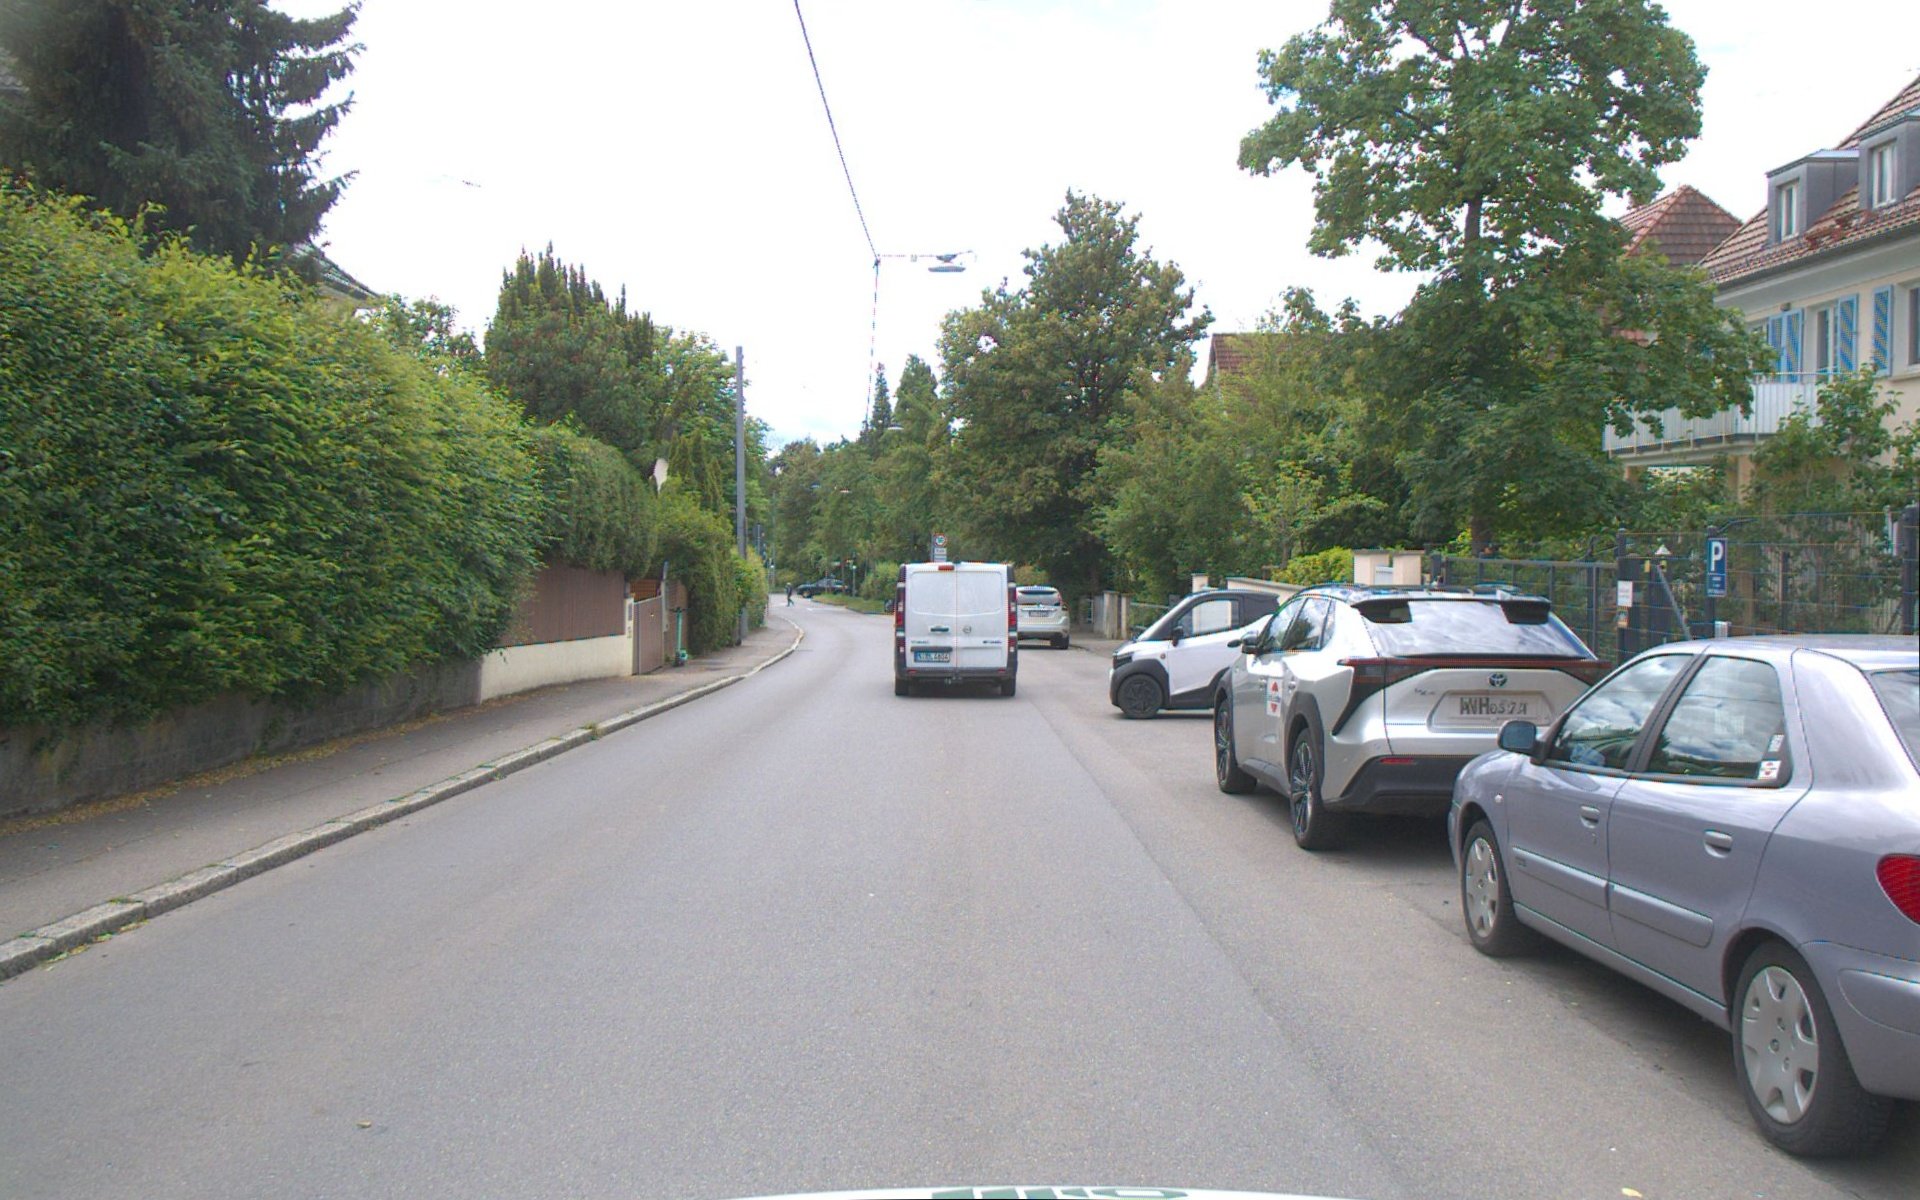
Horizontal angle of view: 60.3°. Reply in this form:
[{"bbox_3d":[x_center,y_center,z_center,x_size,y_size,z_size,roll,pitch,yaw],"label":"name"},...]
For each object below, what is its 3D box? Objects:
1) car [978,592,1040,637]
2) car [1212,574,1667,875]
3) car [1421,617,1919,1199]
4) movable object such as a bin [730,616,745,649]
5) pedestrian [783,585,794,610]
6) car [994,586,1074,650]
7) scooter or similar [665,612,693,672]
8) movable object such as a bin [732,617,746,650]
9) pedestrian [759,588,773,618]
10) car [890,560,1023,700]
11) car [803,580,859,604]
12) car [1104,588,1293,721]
[{"bbox_3d":[1.681,0.474,57.685,1.677,1.513,3.785,0,0,-6],"label":"car"},{"bbox_3d":[2.996,0.678,11.396,1.792,1.652,4.491,0,0,-1],"label":"car"},{"bbox_3d":[3.125,0.800,6.001,1.681,1.406,4.235,0,0,-1],"label":"car"},{"bbox_3d":[-6.198,0.899,46.037,0.329,0.909,0.476,0,0,0],"label":"movable object such as a bin"},{"bbox_3d":[-11.536,-0.200,111.158,0.684,1.644,0.714,0,2,-8],"label":"pedestrian"},{"bbox_3d":[2.033,0.467,46.642,1.828,1.714,4.348,0,0,-3],"label":"car"},{"bbox_3d":[-5.833,0.864,34.374,0.384,1.191,1.270,0,0,-2],"label":"scooter or similar"},{"bbox_3d":[-6.213,0.937,46.592,0.329,0.909,0.476,0,0,-1],"label":"movable object such as a bin"},{"bbox_3d":[-10.657,0.147,90.830,0.692,1.638,0.576,-1,0,-3],"label":"pedestrian"},{"bbox_3d":[-0.127,0.389,25.906,1.891,1.998,4.400,0,1,-2],"label":"car"},{"bbox_3d":[-10.637,-0.655,136.623,4.296,1.892,1.905,0,1,7],"label":"car"},{"bbox_3d":[2.947,0.658,20.716,2.239,1.550,1.319,-1,1,4],"label":"car"}]
